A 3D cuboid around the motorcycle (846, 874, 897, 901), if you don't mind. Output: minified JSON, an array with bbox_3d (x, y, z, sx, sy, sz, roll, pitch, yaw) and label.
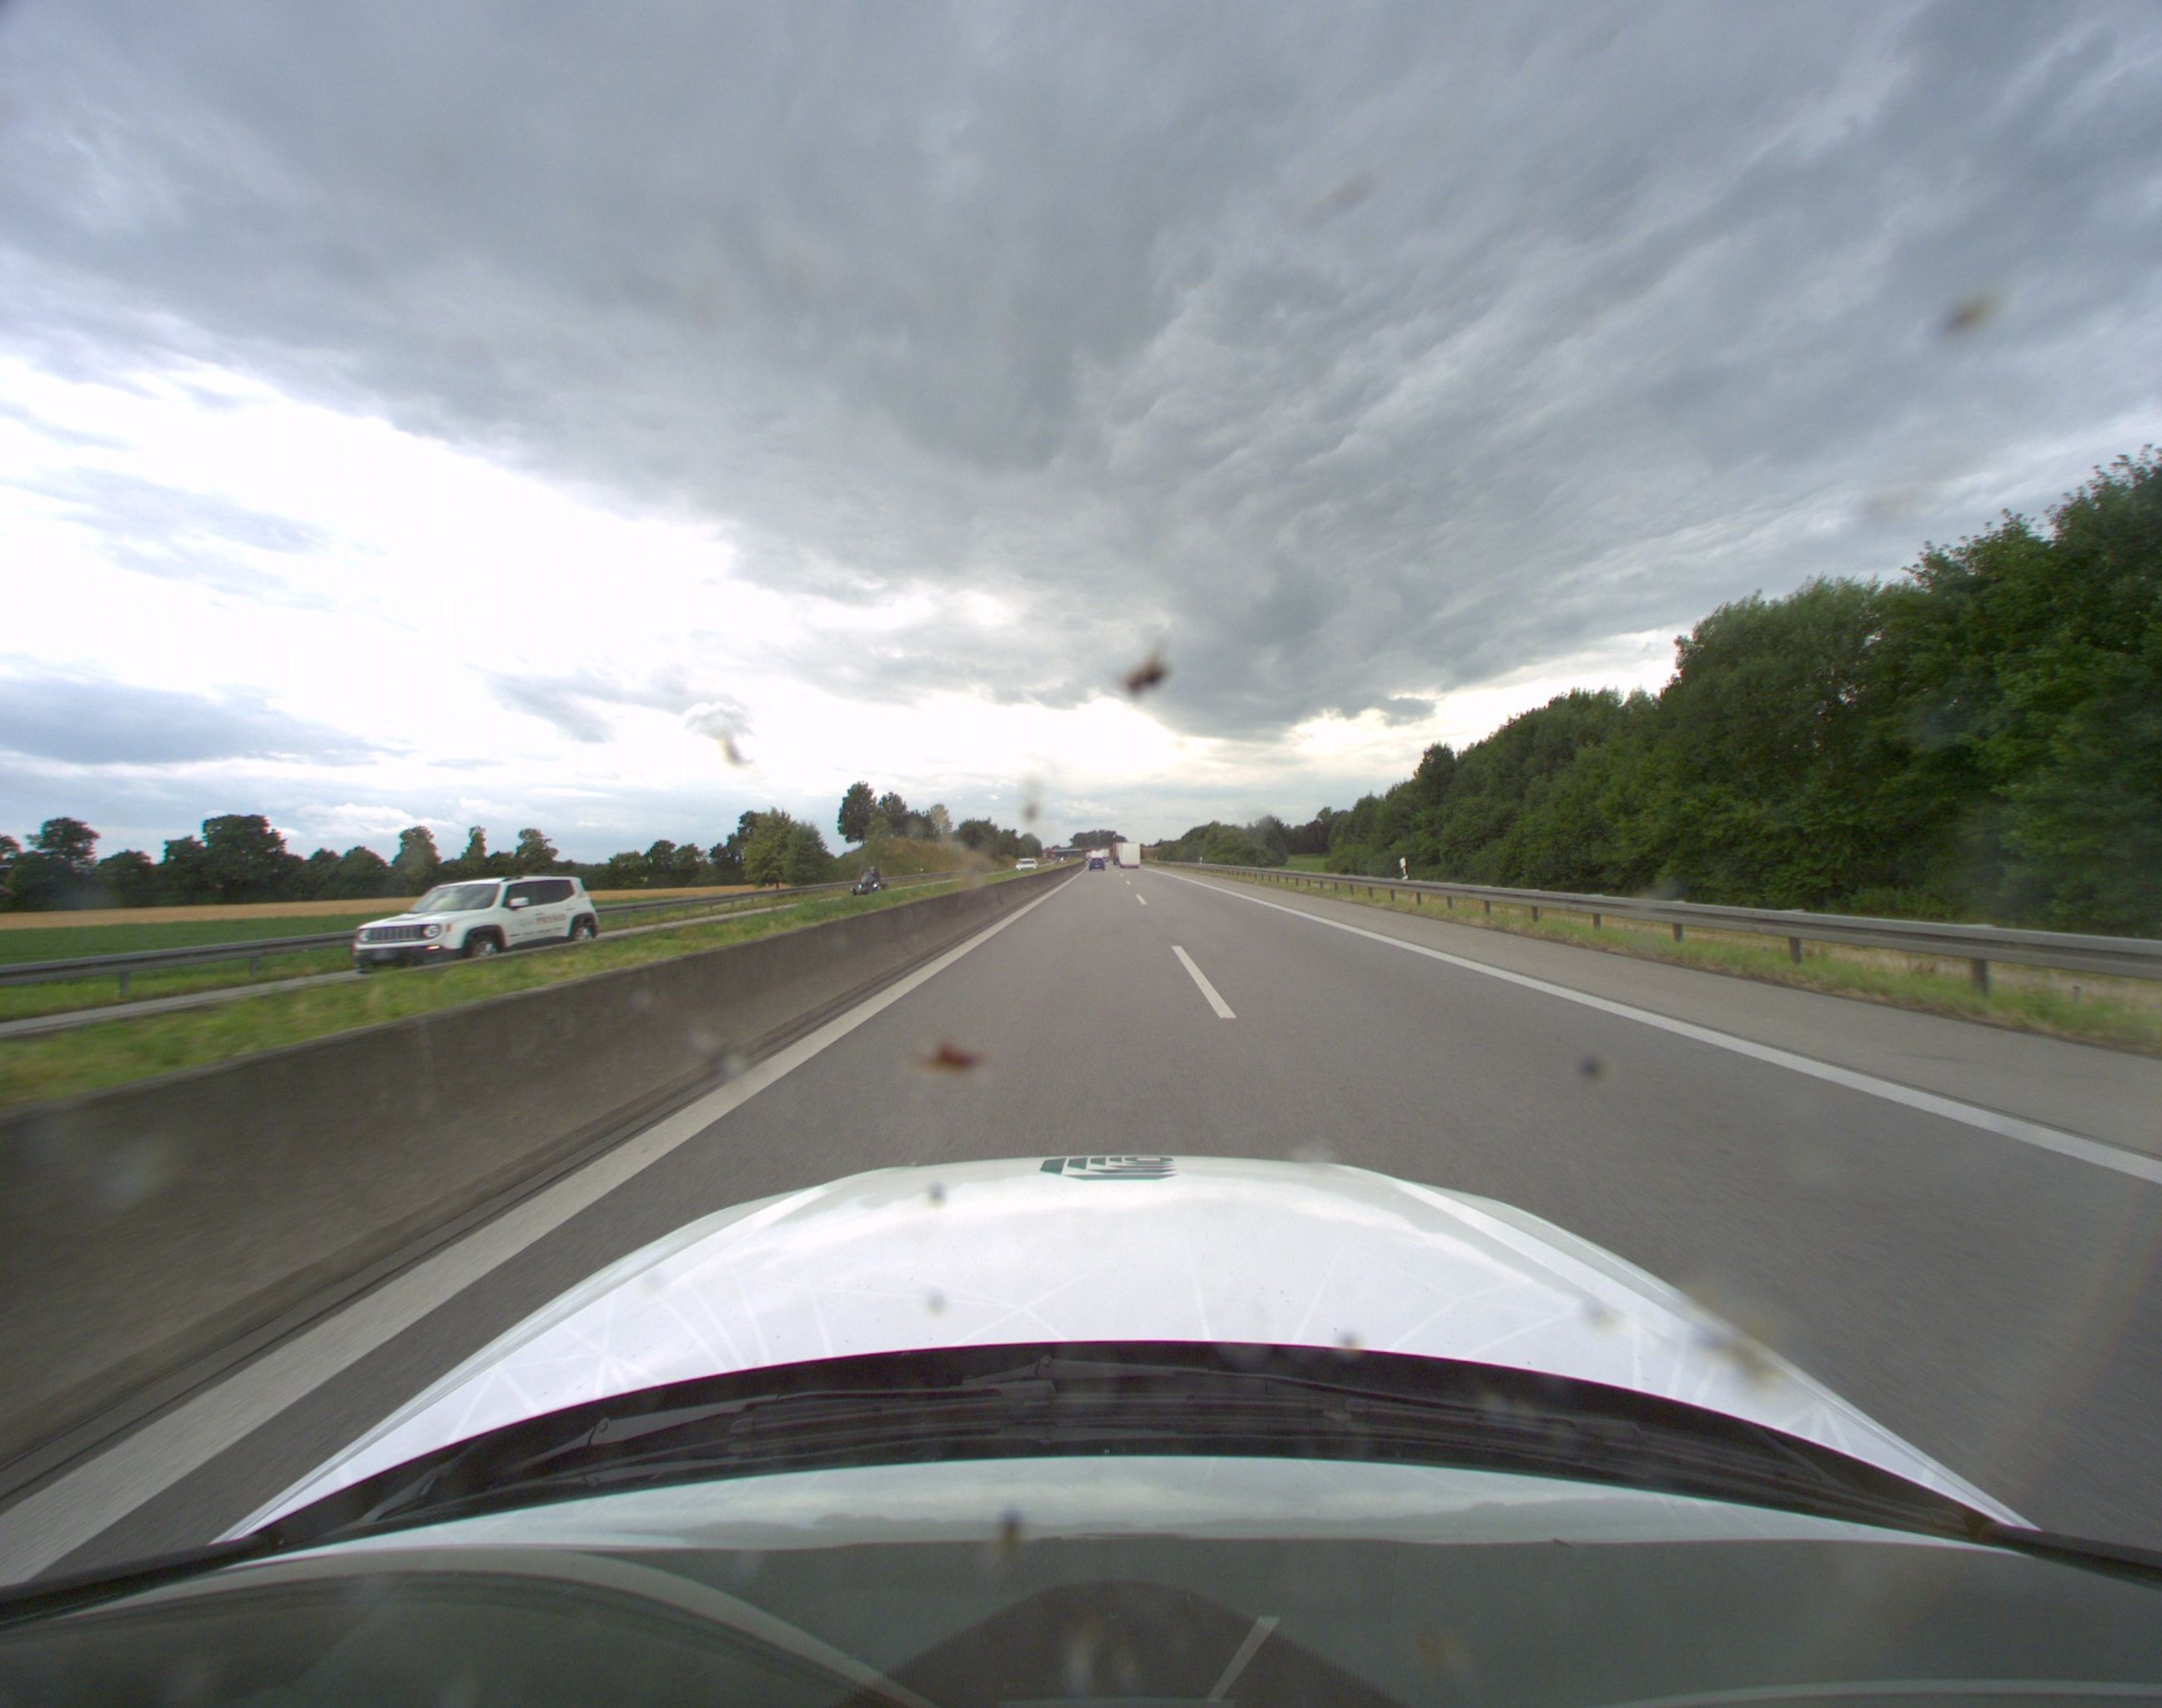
[{"bbox_3d":[-9.951,1.576,38.884,1.561,1.078,2.983,-3,0,2],"label":"motorcycle"}]

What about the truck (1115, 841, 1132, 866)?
[{"bbox_3d":[7.301,-0.119,140.459,2.663,4.045,11.112,-2,0,2],"label":"truck"}]

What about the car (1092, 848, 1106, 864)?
[{"bbox_3d":[2.767,0.324,128.458,2.123,2.483,5.840,-2,-1,1],"label":"car"}]

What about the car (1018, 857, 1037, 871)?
[{"bbox_3d":[-6.399,1.138,97.764,1.859,1.574,4.694,-3,0,0],"label":"car"}]

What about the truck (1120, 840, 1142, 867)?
[{"bbox_3d":[6.296,-0.014,103.298,2.406,3.222,7.146,-1,-1,2],"label":"truck"}]

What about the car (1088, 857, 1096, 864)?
[{"bbox_3d":[2.822,1.694,212.001,1.928,1.643,4.904,-2,-1,1],"label":"car"}]

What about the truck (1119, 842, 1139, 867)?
[{"bbox_3d":[6.506,0.036,110.487,2.421,3.243,7.249,-1,-1,2],"label":"truck"}]

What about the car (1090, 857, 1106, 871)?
[{"bbox_3d":[1.880,1.082,89.425,1.658,1.407,3.649,-1,0,1],"label":"car"}]

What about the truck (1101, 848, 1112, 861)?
[{"bbox_3d":[7.874,0.121,252.615,3.101,3.689,9.320,-4,-1,0],"label":"truck"}]

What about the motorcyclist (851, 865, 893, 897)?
[{"bbox_3d":[-9.965,1.276,38.909,1.561,1.371,1.253,-3,-1,1],"label":"motorcyclist"}]

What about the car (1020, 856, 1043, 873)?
[{"bbox_3d":[-4.953,1.007,82.277,1.859,1.574,4.991,-3,0,1],"label":"car"}]

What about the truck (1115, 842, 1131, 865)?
[{"bbox_3d":[7.486,-0.132,145.862,2.663,4.045,5.515,-2,0,2],"label":"truck"}]

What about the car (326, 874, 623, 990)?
[{"bbox_3d":[-10.882,1.287,15.171,1.829,1.626,4.693,-3,0,2],"label":"car"}]

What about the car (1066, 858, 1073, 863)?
[{"bbox_3d":[-3.503,1.947,250.609,1.839,1.571,4.361,-3,0,1],"label":"car"}]

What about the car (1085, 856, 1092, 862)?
[{"bbox_3d":[2.330,1.427,243.173,1.988,1.684,3.997,-1,-1,-2],"label":"car"}]
